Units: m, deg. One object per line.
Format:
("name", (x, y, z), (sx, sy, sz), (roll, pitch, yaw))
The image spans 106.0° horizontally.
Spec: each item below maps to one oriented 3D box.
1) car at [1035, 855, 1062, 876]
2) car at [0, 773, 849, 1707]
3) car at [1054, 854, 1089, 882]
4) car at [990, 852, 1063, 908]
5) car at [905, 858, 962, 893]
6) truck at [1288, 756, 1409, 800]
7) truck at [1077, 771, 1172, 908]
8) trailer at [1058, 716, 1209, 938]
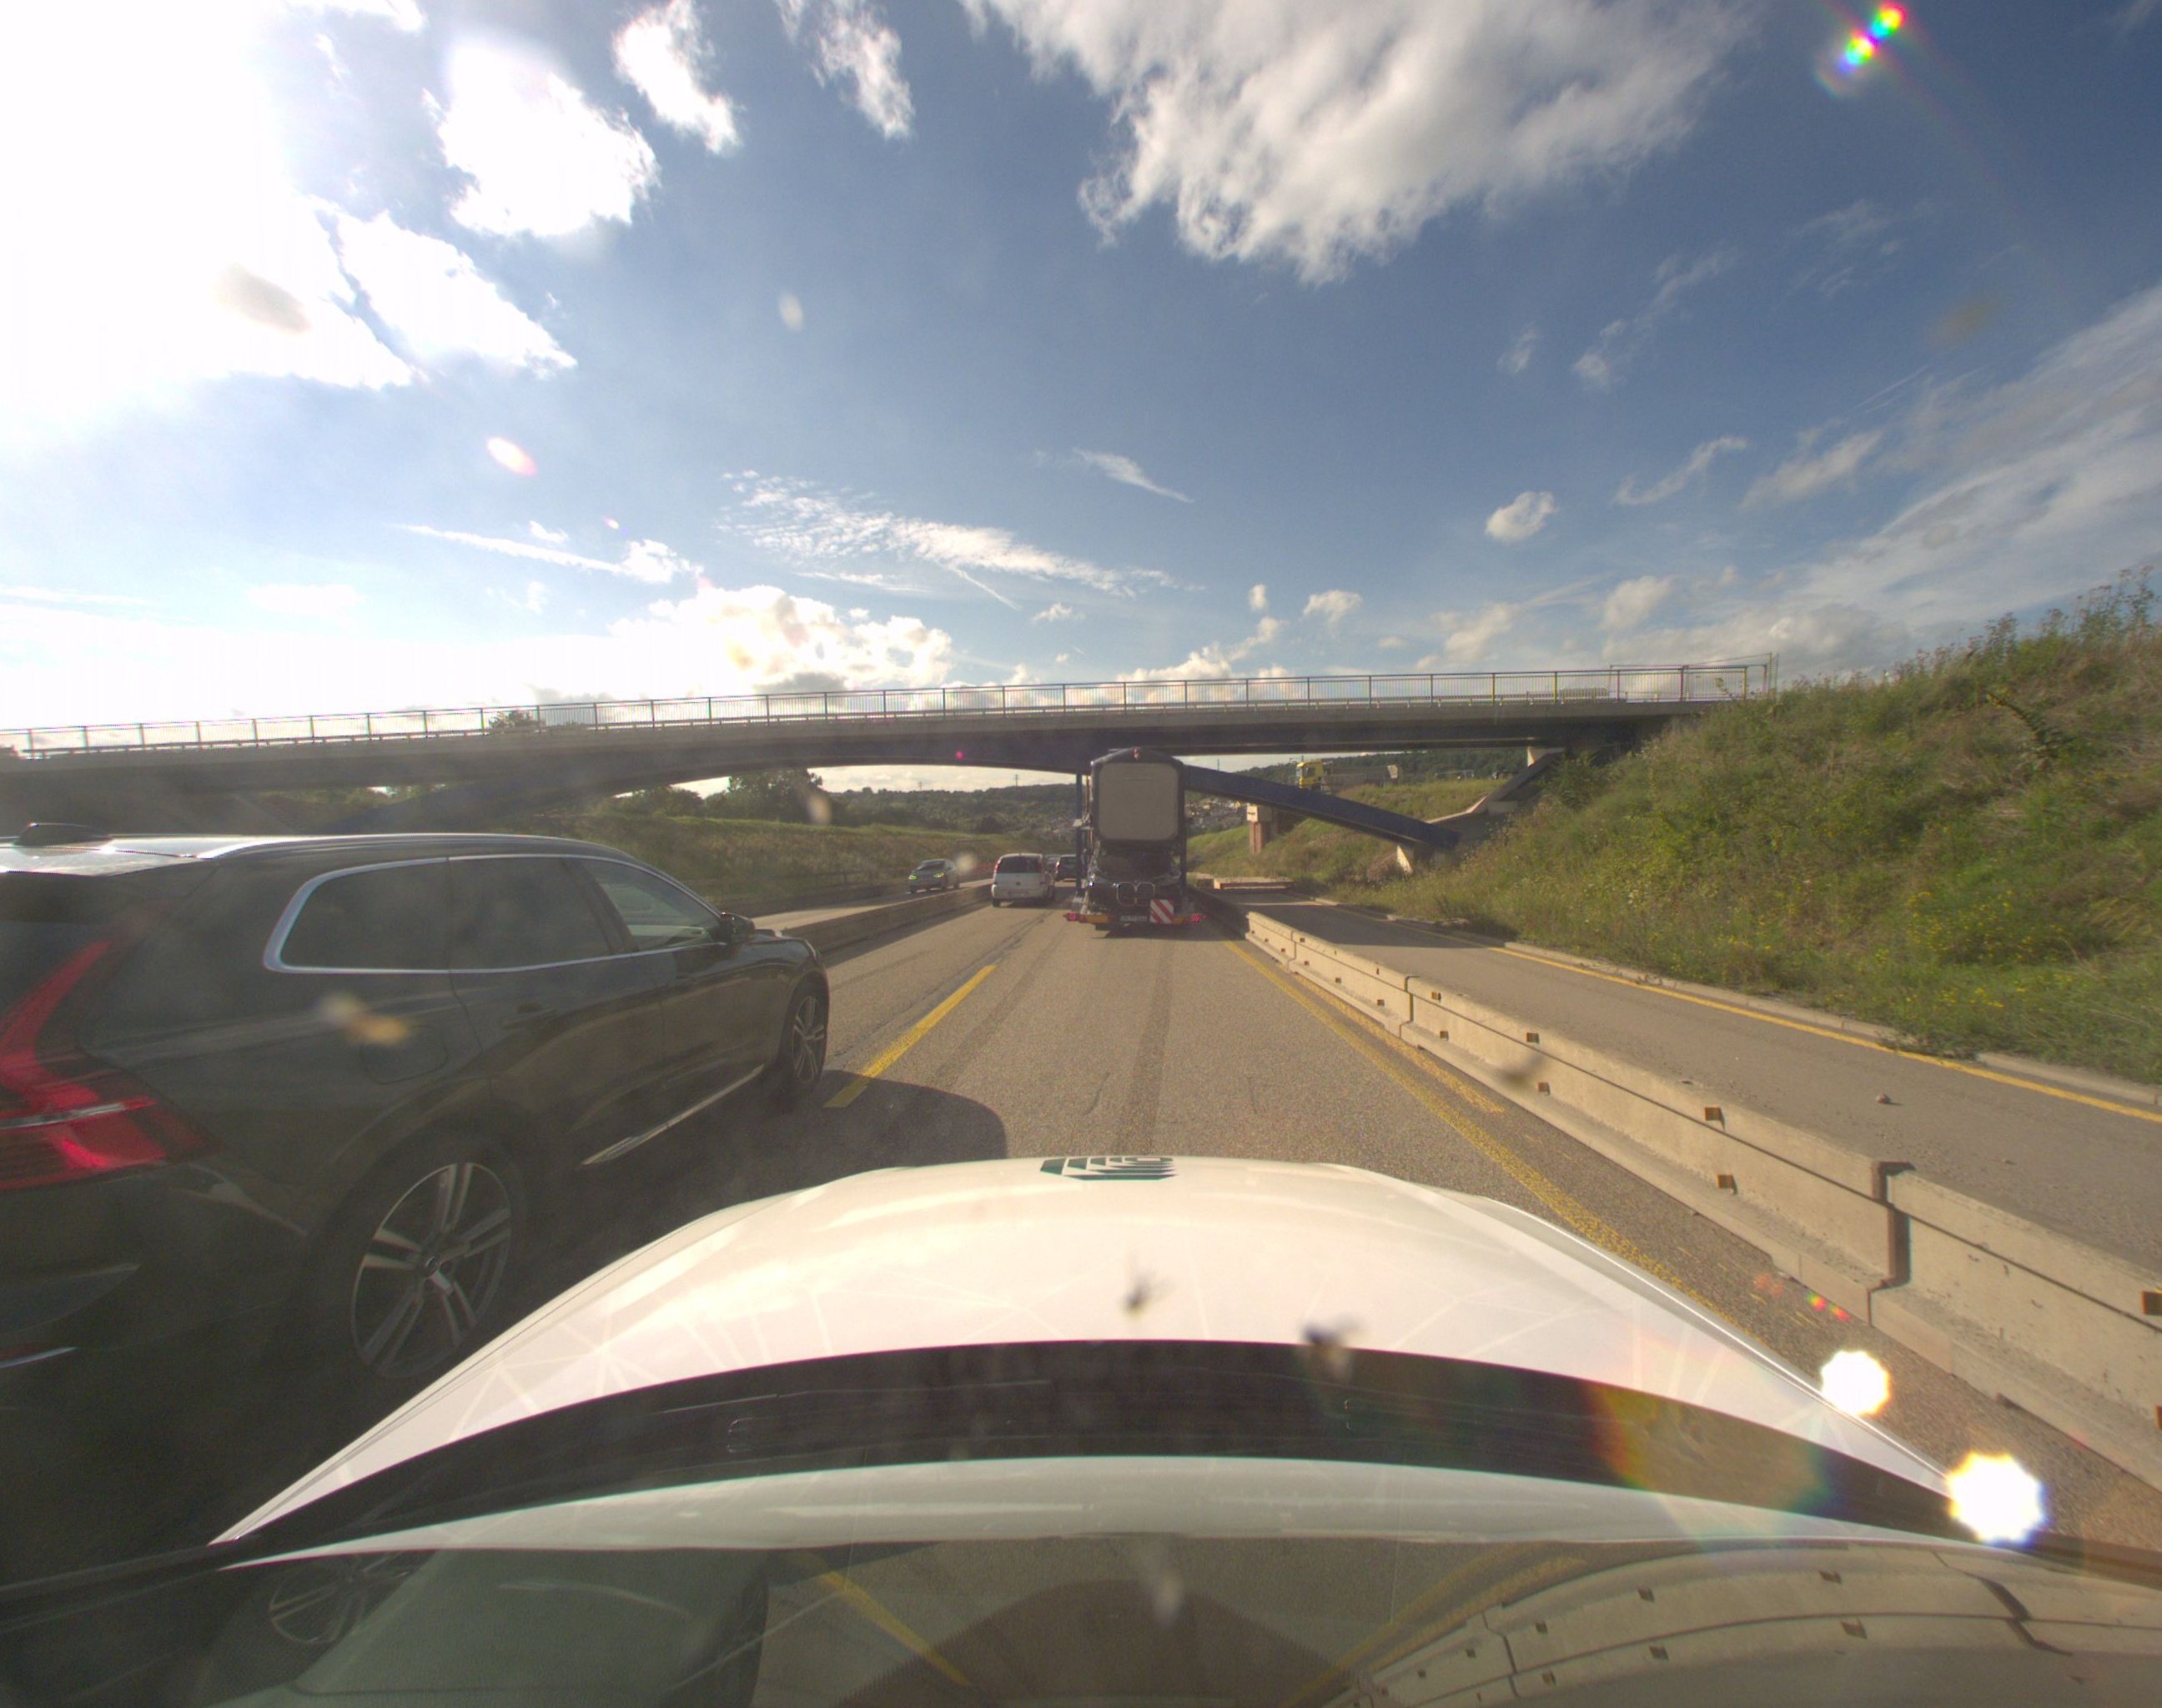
("car", (-2.691, 0.957, 68.132), (1.816, 1.563, 4.221), (-4, 0, 2))
("car", (-2.748, 0.691, 3.447), (1.986, 1.625, 4.752), (-1, 0, 2))
("car", (-0.502, 0.784, 47.869), (1.789, 1.530, 4.298), (-1, 0, 2))
("car", (-1.627, 0.748, 25.975), (1.789, 1.596, 4.746), (0, 0, 2))
("car", (-7.279, 1.020, 40.709), (1.816, 1.492, 4.221), (-4, 0, 2))
("truck", (22.402, -6.374, 68.561), (9.225, 3.228, 2.962), (-1, 0, 3))
("truck", (1.447, -0.400, 26.596), (2.666, 3.922, 6.033), (-1, 0, 3))
("trailer", (1.204, -0.477, 20.666), (2.697, 4.029, 11.426), (-1, 0, 2))
